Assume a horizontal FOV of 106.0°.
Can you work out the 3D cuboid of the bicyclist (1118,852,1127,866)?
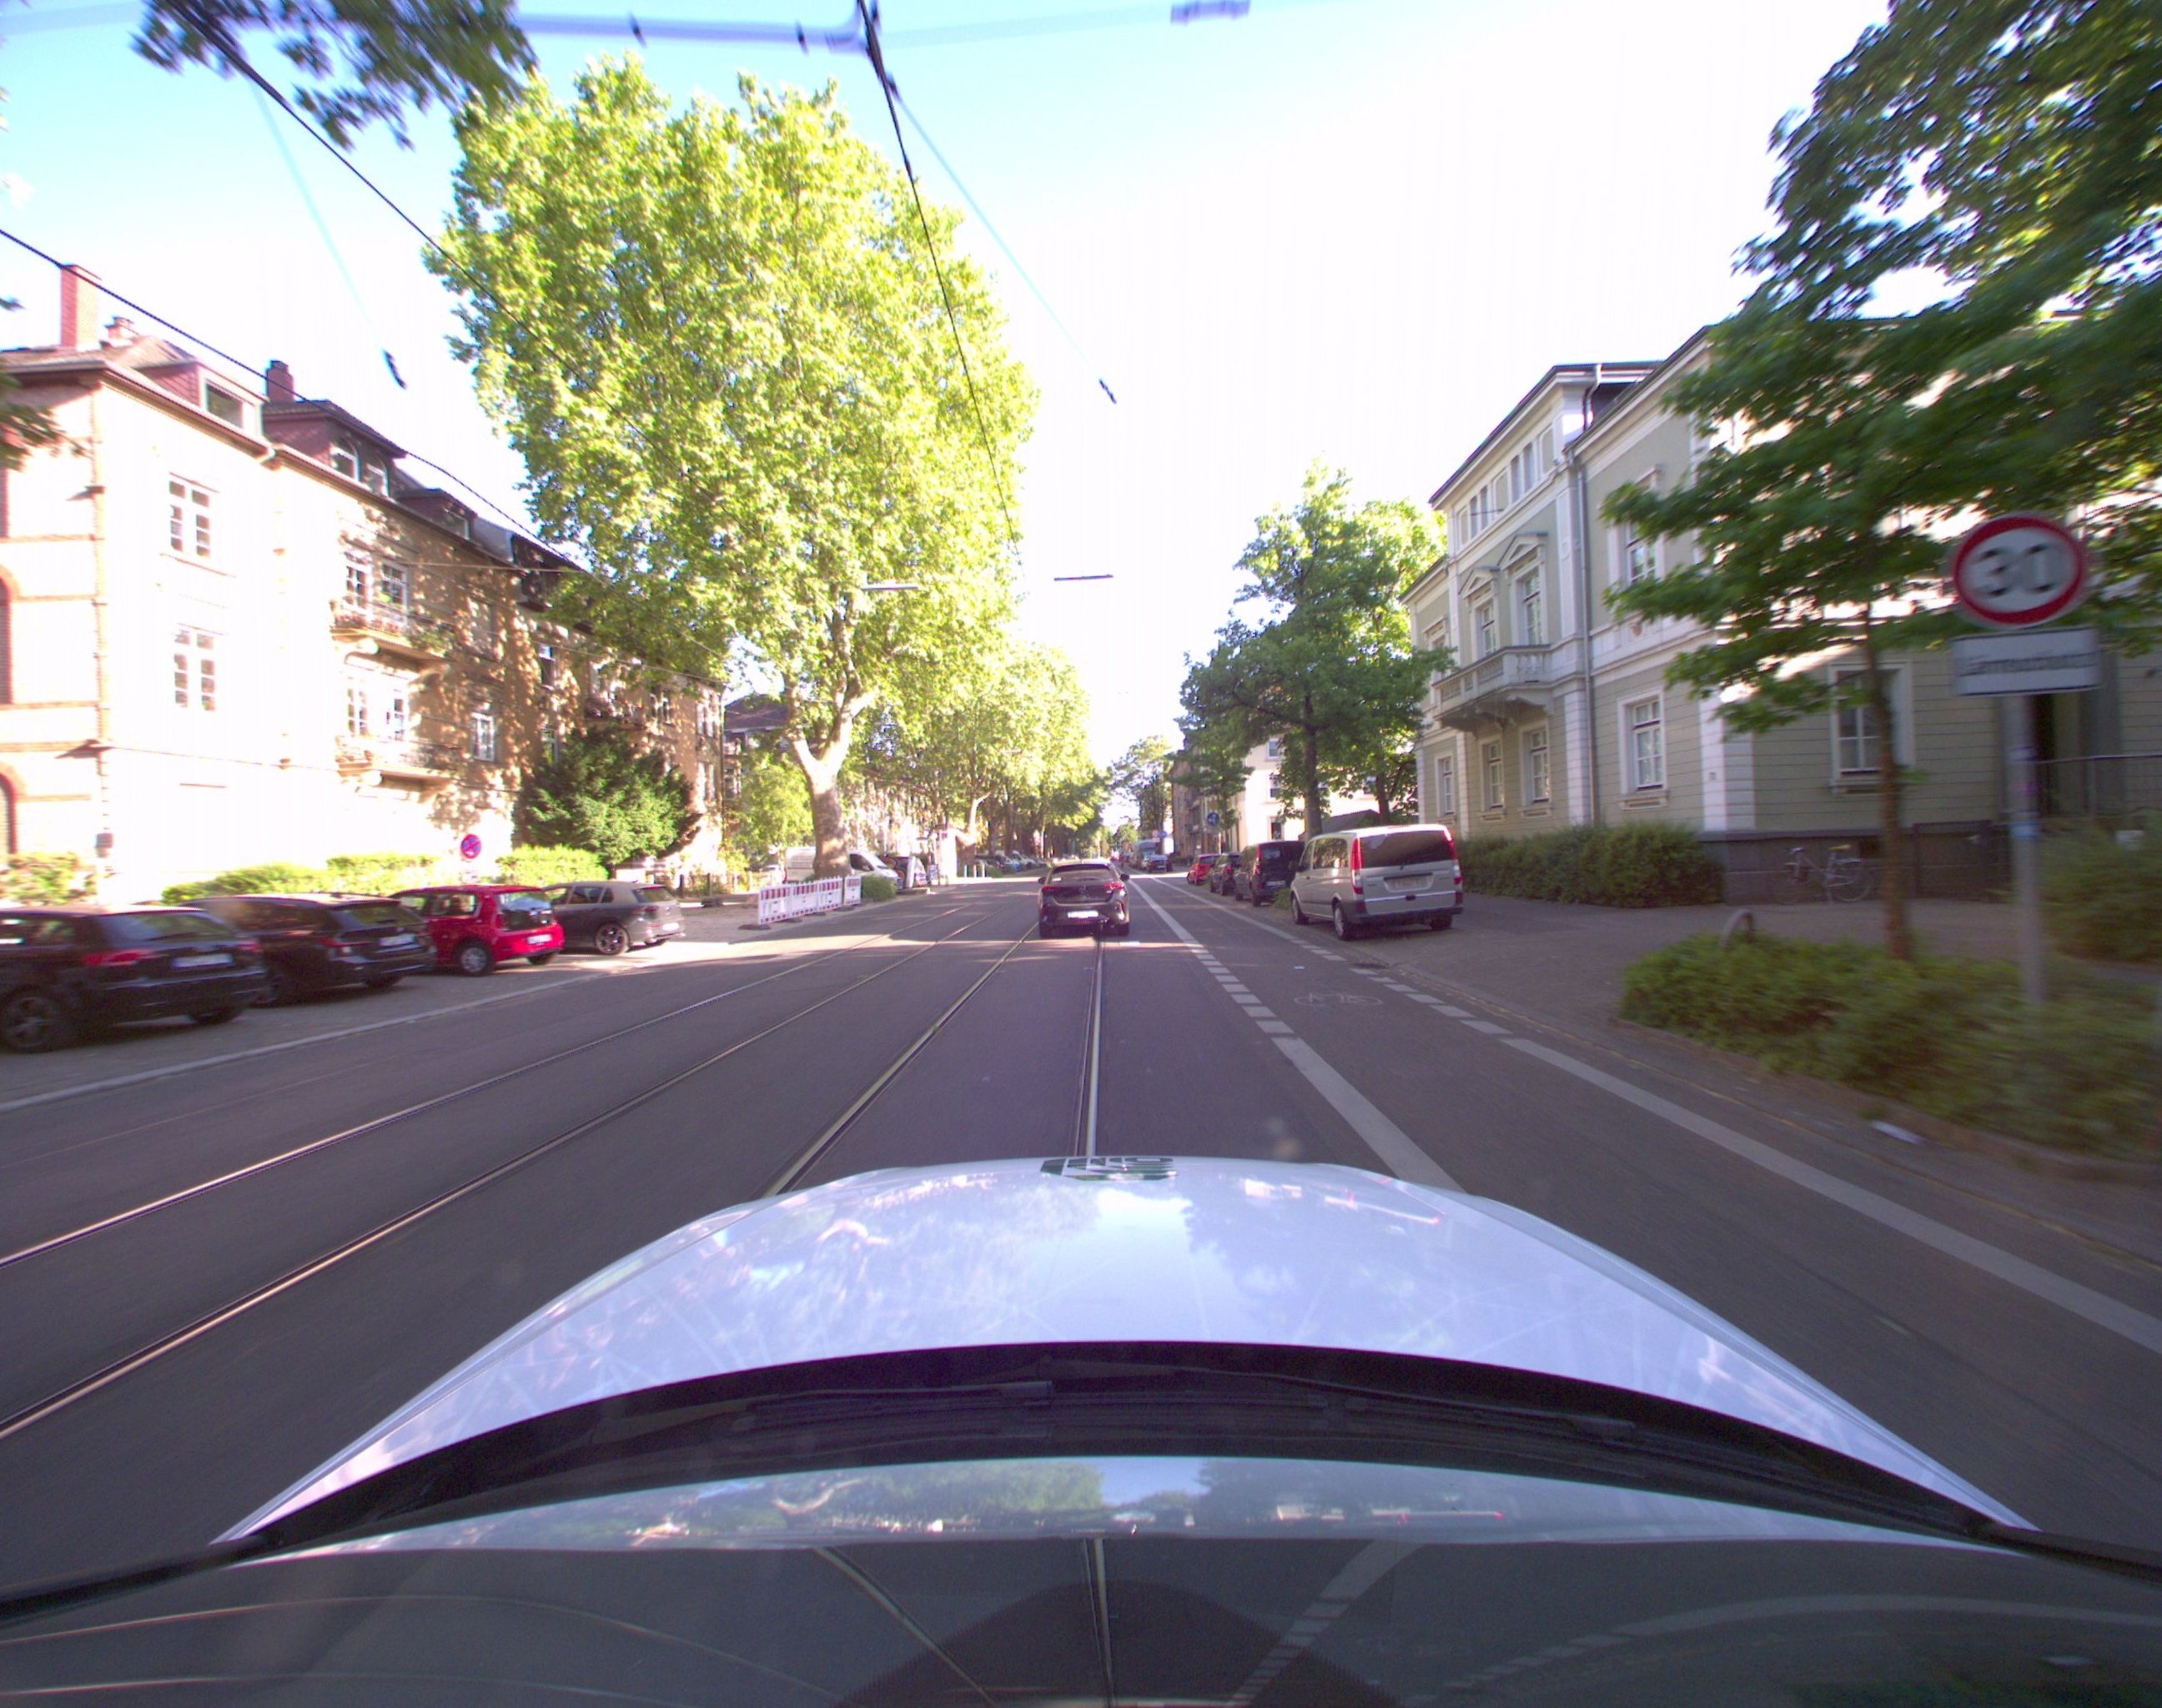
[{"bbox_3d":[4.550,0.544,88.979,0.955,1.499,1.094,-1,0,0],"label":"bicyclist"}]

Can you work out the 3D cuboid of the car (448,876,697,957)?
[{"bbox_3d":[-10.443,1.252,16.931,3.972,1.465,1.855,-1,0,1],"label":"car"}]

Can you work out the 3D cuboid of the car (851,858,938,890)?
[{"bbox_3d":[-10.244,1.068,44.965,4.287,1.607,1.925,-1,0,-1],"label":"car"}]

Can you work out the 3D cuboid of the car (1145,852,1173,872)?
[{"bbox_3d":[6.209,0.627,65.253,1.877,1.434,4.532,-4,0,2],"label":"car"}]

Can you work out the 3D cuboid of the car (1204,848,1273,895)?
[{"bbox_3d":[5.796,0.604,30.373,1.706,1.514,4.036,-4,0,0],"label":"car"}]

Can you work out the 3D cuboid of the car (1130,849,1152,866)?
[{"bbox_3d":[7.061,0.409,96.317,2.246,1.840,5.533,-3,0,2],"label":"car"}]

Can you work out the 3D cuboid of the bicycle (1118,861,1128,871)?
[{"bbox_3d":[4.576,1.279,89.010,0.964,0.999,2.583,-1,0,0],"label":"bicycle"}]

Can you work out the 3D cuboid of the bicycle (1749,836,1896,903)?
[{"bbox_3d":[12.434,0.261,13.686,1.906,1.036,0.562,-2,0,1],"label":"bicycle"}]

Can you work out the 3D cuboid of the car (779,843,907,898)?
[{"bbox_3d":[-10.543,0.723,36.365,5.019,2.259,2.084,-1,0,-2],"label":"car"}]

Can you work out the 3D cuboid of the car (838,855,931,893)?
[{"bbox_3d":[-10.154,1.016,42.328,4.287,1.801,1.925,-1,0,-1],"label":"car"}]

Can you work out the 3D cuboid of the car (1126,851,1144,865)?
[{"bbox_3d":[7.786,0.576,117.681,2.246,1.840,5.533,-3,0,2],"label":"car"}]

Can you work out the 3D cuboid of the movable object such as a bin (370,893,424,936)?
[{"bbox_3d":[-17.395,1.531,20.728,0.719,1.022,0.737,-1,0,3],"label":"movable object such as a bin"}]

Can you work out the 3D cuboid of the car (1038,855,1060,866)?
[{"bbox_3d":[-6.141,1.203,157.713,3.965,2.014,2.004,-1,0,8],"label":"car"}]

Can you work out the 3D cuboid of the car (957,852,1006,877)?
[{"bbox_3d":[-9.202,0.964,75.555,4.295,1.840,1.778,-5,0,-6],"label":"car"}]

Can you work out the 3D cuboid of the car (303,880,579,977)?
[{"bbox_3d":[-10.936,1.238,14.092,3.405,1.465,1.761,-1,0,3],"label":"car"}]

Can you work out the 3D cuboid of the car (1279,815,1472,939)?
[{"bbox_3d":[5.331,0.379,15.555,1.877,1.851,4.969,-4,0,2],"label":"car"}]

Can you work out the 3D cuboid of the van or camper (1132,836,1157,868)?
[{"bbox_3d":[6.912,-0.229,89.121,2.246,3.216,5.533,-3,0,2],"label":"van or camper"}]

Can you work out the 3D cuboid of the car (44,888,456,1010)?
[{"bbox_3d":[-11.552,1.283,11.516,4.065,1.465,1.822,-1,0,3],"label":"car"}]

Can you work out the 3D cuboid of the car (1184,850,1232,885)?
[{"bbox_3d":[6.045,0.612,39.135,1.696,1.423,3.980,-5,0,2],"label":"car"}]

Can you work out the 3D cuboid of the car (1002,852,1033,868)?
[{"bbox_3d":[-8.453,0.803,108.015,3.984,2.014,1.995,-1,0,-8],"label":"car"}]

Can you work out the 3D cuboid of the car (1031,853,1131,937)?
[{"bbox_3d":[0.065,0.738,16.566,1.756,1.460,3.952,-1,0,2],"label":"car"}]

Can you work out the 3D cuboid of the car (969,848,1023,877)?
[{"bbox_3d":[-8.549,0.840,82.243,5.017,2.374,2.082,-5,0,1],"label":"car"}]

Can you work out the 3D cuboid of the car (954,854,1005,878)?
[{"bbox_3d":[-9.102,1.064,73.222,4.295,1.674,1.778,-5,0,-6],"label":"car"}]

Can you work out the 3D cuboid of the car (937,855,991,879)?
[{"bbox_3d":[-9.846,1.056,68.683,4.295,1.593,1.778,-5,0,-6],"label":"car"}]

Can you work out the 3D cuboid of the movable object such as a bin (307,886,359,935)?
[{"bbox_3d":[-17.882,1.348,19.480,0.721,1.109,0.543,-1,0,3],"label":"movable object such as a bin"}]

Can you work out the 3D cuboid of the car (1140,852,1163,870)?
[{"bbox_3d":[6.495,0.673,75.348,1.797,1.434,4.001,-3,-1,2],"label":"car"}]

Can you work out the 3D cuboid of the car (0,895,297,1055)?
[{"bbox_3d":[-11.141,1.257,8.894,3.586,1.465,1.688,-1,0,3],"label":"car"}]

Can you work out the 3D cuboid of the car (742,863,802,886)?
[{"bbox_3d":[-22.810,1.470,60.257,1.844,1.592,4.755,-1,0,11],"label":"car"}]

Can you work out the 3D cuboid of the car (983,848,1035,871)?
[{"bbox_3d":[-8.399,0.638,94.964,5.611,2.593,2.199,-1,0,5],"label":"car"}]

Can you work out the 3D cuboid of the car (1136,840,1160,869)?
[{"bbox_3d":[6.744,0.028,82.554,2.077,2.772,4.699,-3,0,2],"label":"car"}]

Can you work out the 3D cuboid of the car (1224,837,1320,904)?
[{"bbox_3d":[5.642,0.469,24.696,1.879,1.766,4.680,-3,0,2],"label":"car"}]
